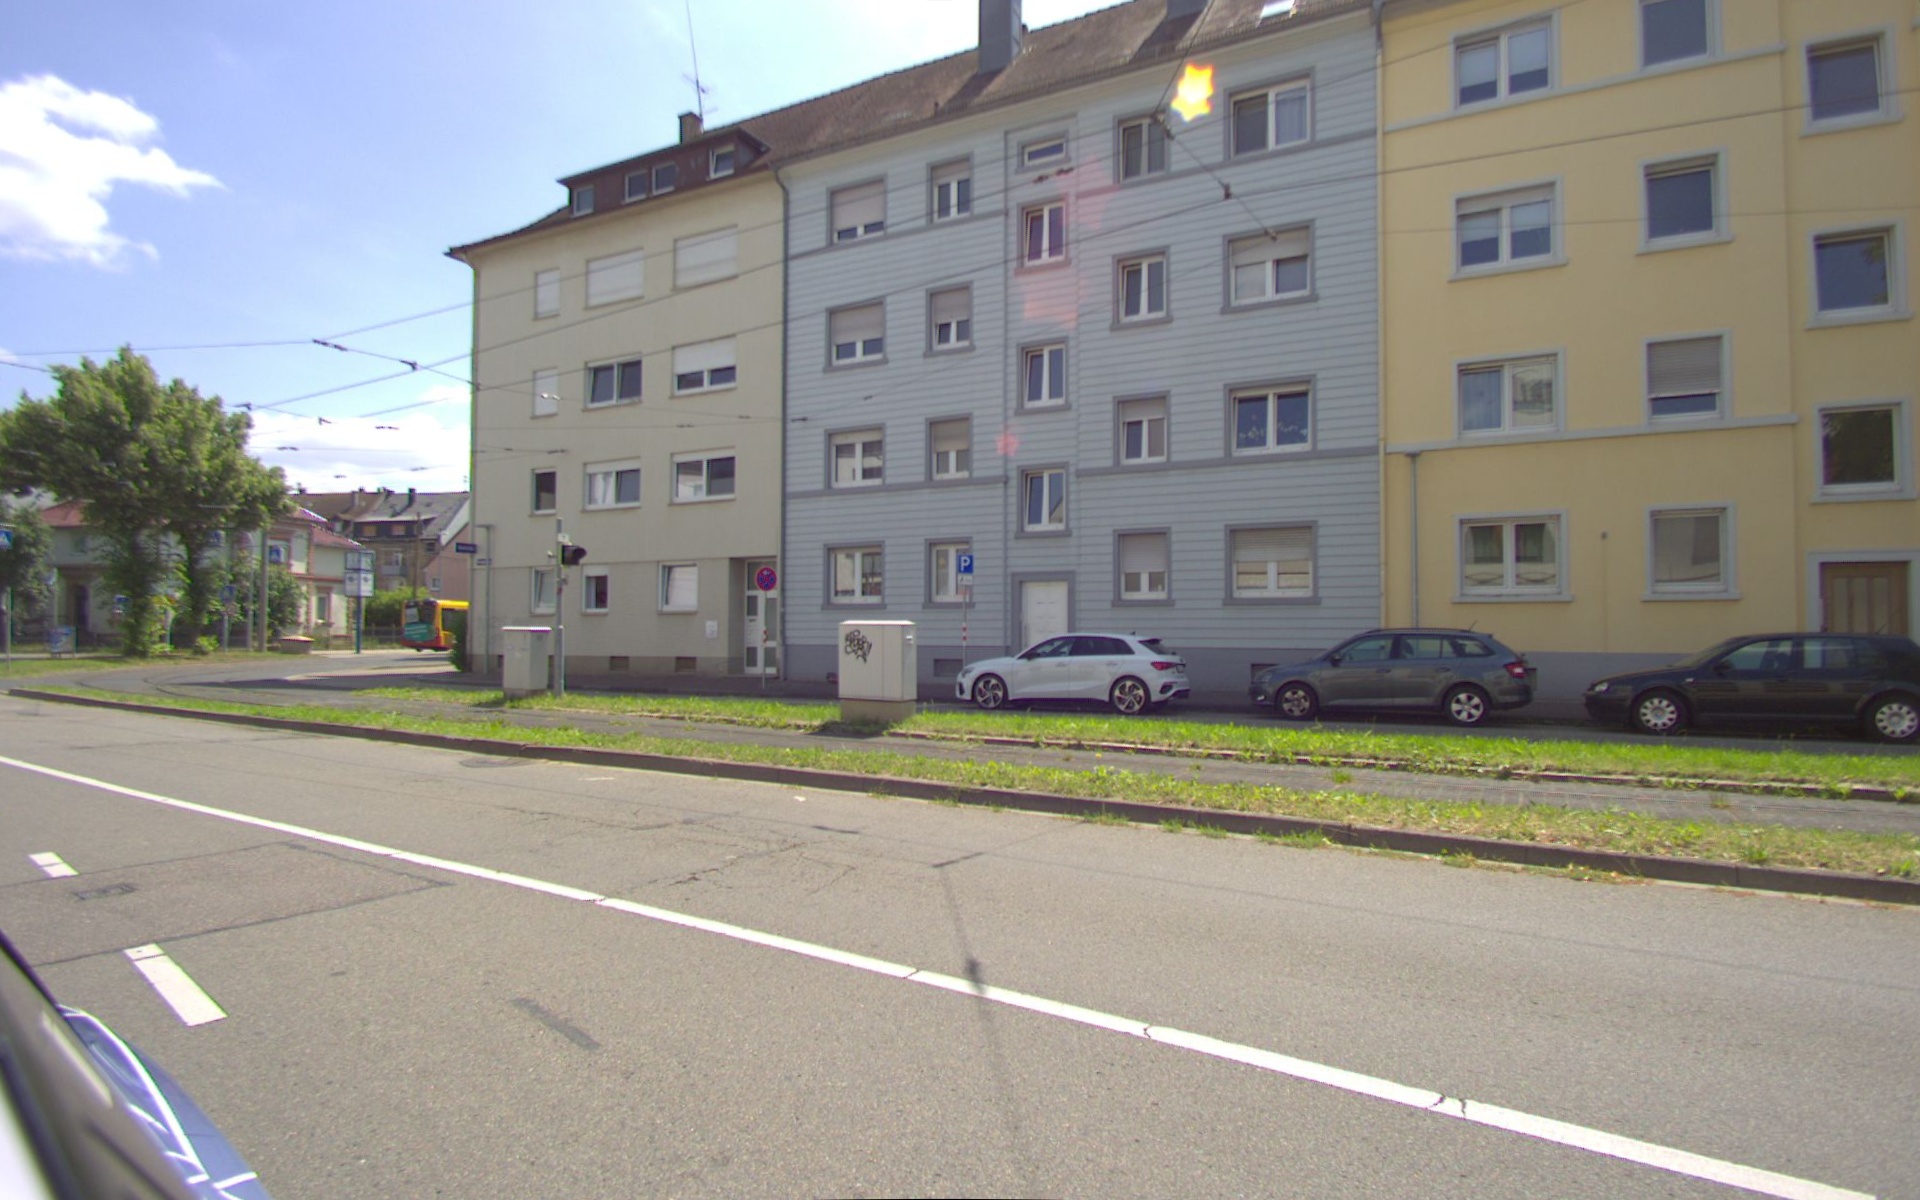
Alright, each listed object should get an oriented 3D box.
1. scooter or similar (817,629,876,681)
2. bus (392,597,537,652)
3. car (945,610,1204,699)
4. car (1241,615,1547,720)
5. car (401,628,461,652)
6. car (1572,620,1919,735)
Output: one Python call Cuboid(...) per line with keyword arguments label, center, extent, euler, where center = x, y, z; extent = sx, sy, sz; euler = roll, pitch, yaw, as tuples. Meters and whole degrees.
Cuboid(label="scooter or similar", center=(-2.775, 1.337, 24.782), extent=(1.314, 1.232, 0.634), euler=(-1, -2, 28))
Cuboid(label="bus", center=(-32.087, 1.753, 66.283), extent=(2.678, 3.322, 10.824), euler=(-1, -3, 9))
Cuboid(label="car", center=(2.098, 1.019, 18.601), extent=(4.352, 1.462, 1.917), euler=(-1, -5, 26))
Cuboid(label="car", center=(6.921, 1.065, 16.410), extent=(4.302, 1.516, 1.917), euler=(-1, -4, 26))
Cuboid(label="car", center=(-35.771, 2.703, 68.529), extent=(1.759, 1.475, 3.736), euler=(-2, -4, 9))
Cuboid(label="car", center=(10.968, 1.038, 14.007), extent=(4.123, 1.411, 1.819), euler=(-1, -4, 28))
